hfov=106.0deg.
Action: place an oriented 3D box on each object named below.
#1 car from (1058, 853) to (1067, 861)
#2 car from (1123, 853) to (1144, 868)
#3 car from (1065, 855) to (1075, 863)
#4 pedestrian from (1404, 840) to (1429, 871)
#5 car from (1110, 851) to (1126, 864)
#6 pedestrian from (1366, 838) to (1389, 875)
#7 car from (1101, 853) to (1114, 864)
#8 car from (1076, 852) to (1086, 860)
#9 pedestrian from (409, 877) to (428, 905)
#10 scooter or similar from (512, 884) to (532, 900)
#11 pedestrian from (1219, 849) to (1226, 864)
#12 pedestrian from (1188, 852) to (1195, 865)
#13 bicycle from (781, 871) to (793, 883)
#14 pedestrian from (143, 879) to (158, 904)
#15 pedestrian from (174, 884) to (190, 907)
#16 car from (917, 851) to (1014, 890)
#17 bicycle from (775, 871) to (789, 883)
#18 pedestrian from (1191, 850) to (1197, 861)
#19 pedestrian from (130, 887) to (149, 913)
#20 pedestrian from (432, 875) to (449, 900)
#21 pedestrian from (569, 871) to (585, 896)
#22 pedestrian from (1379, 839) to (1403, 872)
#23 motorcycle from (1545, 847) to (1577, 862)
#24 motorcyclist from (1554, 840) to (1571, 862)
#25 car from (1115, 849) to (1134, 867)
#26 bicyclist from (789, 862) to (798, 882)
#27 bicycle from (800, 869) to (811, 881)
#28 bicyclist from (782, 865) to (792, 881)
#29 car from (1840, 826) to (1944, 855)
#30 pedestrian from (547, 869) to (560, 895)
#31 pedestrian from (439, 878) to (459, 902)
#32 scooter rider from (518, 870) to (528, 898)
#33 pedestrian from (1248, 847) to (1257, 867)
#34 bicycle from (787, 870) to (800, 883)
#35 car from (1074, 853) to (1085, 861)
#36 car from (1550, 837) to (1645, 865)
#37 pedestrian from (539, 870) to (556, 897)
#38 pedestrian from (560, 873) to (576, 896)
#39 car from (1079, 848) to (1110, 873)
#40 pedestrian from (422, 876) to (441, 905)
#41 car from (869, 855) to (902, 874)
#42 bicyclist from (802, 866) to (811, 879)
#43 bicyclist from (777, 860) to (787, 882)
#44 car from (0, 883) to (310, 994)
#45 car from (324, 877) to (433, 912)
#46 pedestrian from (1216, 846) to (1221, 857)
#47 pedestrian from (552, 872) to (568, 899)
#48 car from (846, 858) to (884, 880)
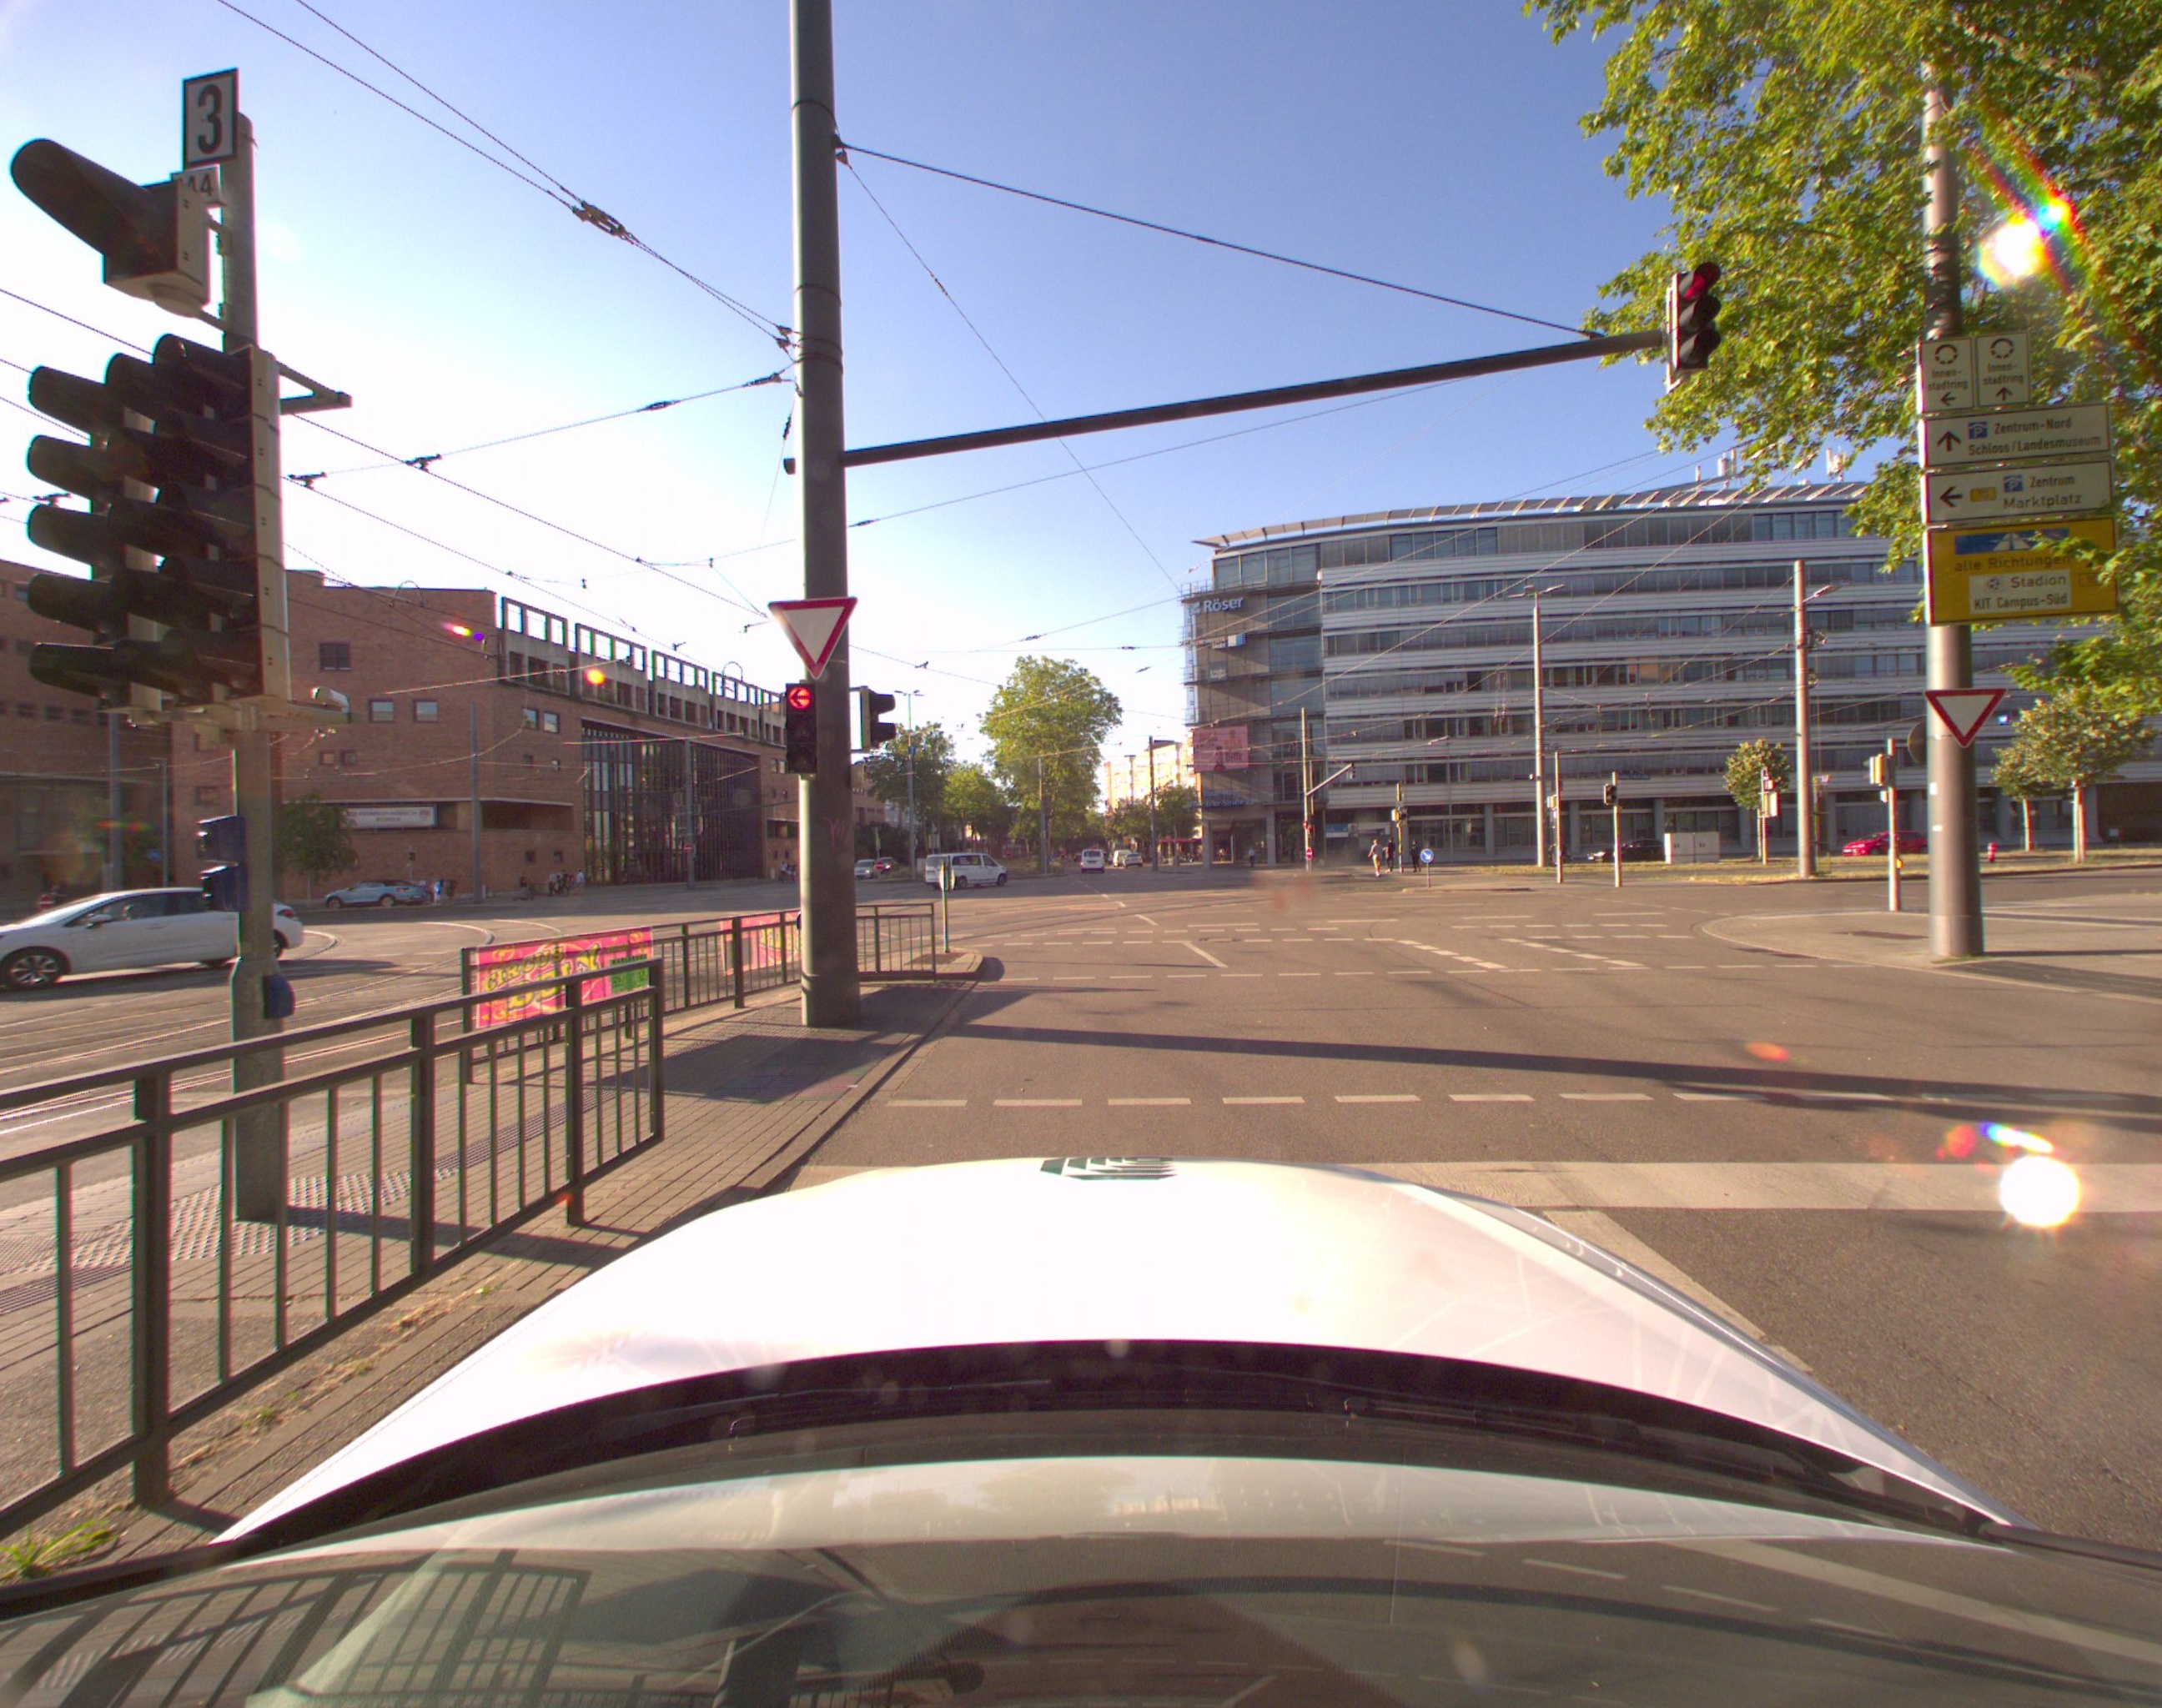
[{"bbox_3d":[-4.583,0.667,206.045,1.986,2.013,4.001,-2,0,1],"label":"car"},{"bbox_3d":[5.288,0.621,82.819,1.986,1.376,4.002,-2,0,2],"label":"car"},{"bbox_3d":[-1.970,0.978,147.284,1.792,1.442,3.999,0,-1,0],"label":"car"},{"bbox_3d":[17.184,0.065,41.761,0.943,1.564,0.899,-2,0,9],"label":"pedestrian"},{"bbox_3d":[4.818,0.477,105.293,1.986,1.618,4.002,-2,0,2],"label":"car"},{"bbox_3d":[14.790,0.117,40.676,0.859,1.788,0.873,-2,0,7],"label":"pedestrian"},{"bbox_3d":[4.089,0.655,126.775,1.986,1.618,4.002,-2,0,2],"label":"car"},{"bbox_3d":[0.041,0.446,165.519,1.791,1.442,4.002,-2,0,2],"label":"car"},{"bbox_3d":[-38.456,2.144,47.274,0.594,1.614,0.589,-2,0,1],"label":"pedestrian"},{"bbox_3d":[-33.729,2.284,49.146,0.956,0.899,0.173,-2,0,-45],"label":"scooter or similar"},{"bbox_3d":[14.589,0.222,83.943,0.608,1.507,0.580,-2,0,9],"label":"pedestrian"},{"bbox_3d":[14.181,0.589,104.805,0.741,1.714,0.612,-2,0,1],"label":"pedestrian"},{"bbox_3d":[-25.011,1.989,69.270,0.466,0.963,1.320,-2,0,2],"label":"bicycle"},{"bbox_3d":[-56.662,2.288,49.592,0.583,1.463,0.537,-2,0,34],"label":"pedestrian"},{"bbox_3d":[-55.456,2.554,50.240,0.549,1.427,0.563,-2,0,33],"label":"pedestrian"},{"bbox_3d":[-6.018,0.819,43.197,1.942,1.848,5.364,-2,0,34],"label":"car"},{"bbox_3d":[-24.343,1.858,66.309,0.540,0.963,1.587,-2,0,2],"label":"bicycle"},{"bbox_3d":[14.588,0.193,105.004,0.575,1.289,0.910,-2,0,2],"label":"pedestrian"},{"bbox_3d":[-55.231,2.716,47.781,0.508,1.463,0.466,-2,0,-6],"label":"pedestrian"},{"bbox_3d":[-38.038,1.973,48.355,0.568,1.453,0.612,-2,0,-13],"label":"pedestrian"},{"bbox_3d":[-33.574,1.943,54.234,0.605,1.625,0.621,-2,0,21],"label":"pedestrian"},{"bbox_3d":[15.996,0.070,41.984,0.907,1.685,1.038,-2,0,9],"label":"pedestrian"},{"bbox_3d":[28.692,0.027,48.718,1.560,0.810,0.468,-2,0,6],"label":"motorcycle"},{"bbox_3d":[28.802,-0.186,48.721,0.708,1.275,0.460,-2,0,5],"label":"motorcyclist"},{"bbox_3d":[4.741,0.450,89.637,1.986,1.860,4.002,-2,0,2],"label":"car"},{"bbox_3d":[-23.482,1.428,66.521,0.456,1.603,0.581,-2,0,1],"label":"bicyclist"},{"bbox_3d":[-24.407,1.850,72.239,0.449,0.963,1.348,-2,0,2],"label":"bicycle"},{"bbox_3d":[-25.013,1.624,69.280,0.503,1.304,0.581,-2,0,1],"label":"bicyclist"},{"bbox_3d":[46.505,-0.742,46.776,3.966,1.393,1.789,-4,0,7],"label":"car"},{"bbox_3d":[-34.602,1.837,53.416,0.566,1.683,0.553,-2,0,36],"label":"pedestrian"},{"bbox_3d":[-36.538,2.079,47.090,0.597,1.339,0.684,-2,0,17],"label":"pedestrian"},{"bbox_3d":[-33.715,1.812,49.184,0.441,1.647,0.226,-2,0,-44],"label":"scooter rider"},{"bbox_3d":[13.385,0.212,63.714,0.608,1.507,0.580,-2,0,9],"label":"pedestrian"},{"bbox_3d":[-23.442,1.823,66.387,0.471,0.963,1.576,-2,0,2],"label":"bicycle"},{"bbox_3d":[-0.265,0.481,153.135,1.791,1.442,4.002,-2,0,2],"label":"car"},{"bbox_3d":[29.038,-0.173,45.861,4.136,1.398,1.789,-2,0,7],"label":"car"},{"bbox_3d":[-34.021,1.854,51.918,0.643,1.683,0.626,-2,0,24],"label":"pedestrian"},{"bbox_3d":[-33.369,1.981,52.989,0.635,1.421,0.602,-2,0,19],"label":"pedestrian"},{"bbox_3d":[1.102,0.472,64.464,1.745,1.867,4.536,-2,0,8],"label":"car"},{"bbox_3d":[-37.556,2.087,47.082,0.597,1.648,0.549,-2,0,1],"label":"pedestrian"},{"bbox_3d":[-18.118,0.965,75.524,1.987,1.640,4.001,-2,0,1],"label":"car"},{"bbox_3d":[-24.392,1.631,72.393,0.503,1.179,0.581,-2,0,1],"label":"bicyclist"},{"bbox_3d":[-24.362,1.376,66.328,0.534,1.731,0.581,-2,0,1],"label":"bicyclist"},{"bbox_3d":[-16.378,1.357,13.862,1.740,1.488,4.333,-2,0,24],"label":"car"},{"bbox_3d":[-36.078,2.061,41.922,3.702,1.575,2.000,-2,0,-5],"label":"car"},{"bbox_3d":[22.155,-0.412,131.417,0.741,1.714,0.612,-2,0,1],"label":"pedestrian"},{"bbox_3d":[-32.971,2.005,51.533,0.585,1.683,0.554,-2,0,23],"label":"pedestrian"},{"bbox_3d":[-18.007,1.222,67.949,1.987,1.640,4.001,-2,0,1],"label":"car"}]
